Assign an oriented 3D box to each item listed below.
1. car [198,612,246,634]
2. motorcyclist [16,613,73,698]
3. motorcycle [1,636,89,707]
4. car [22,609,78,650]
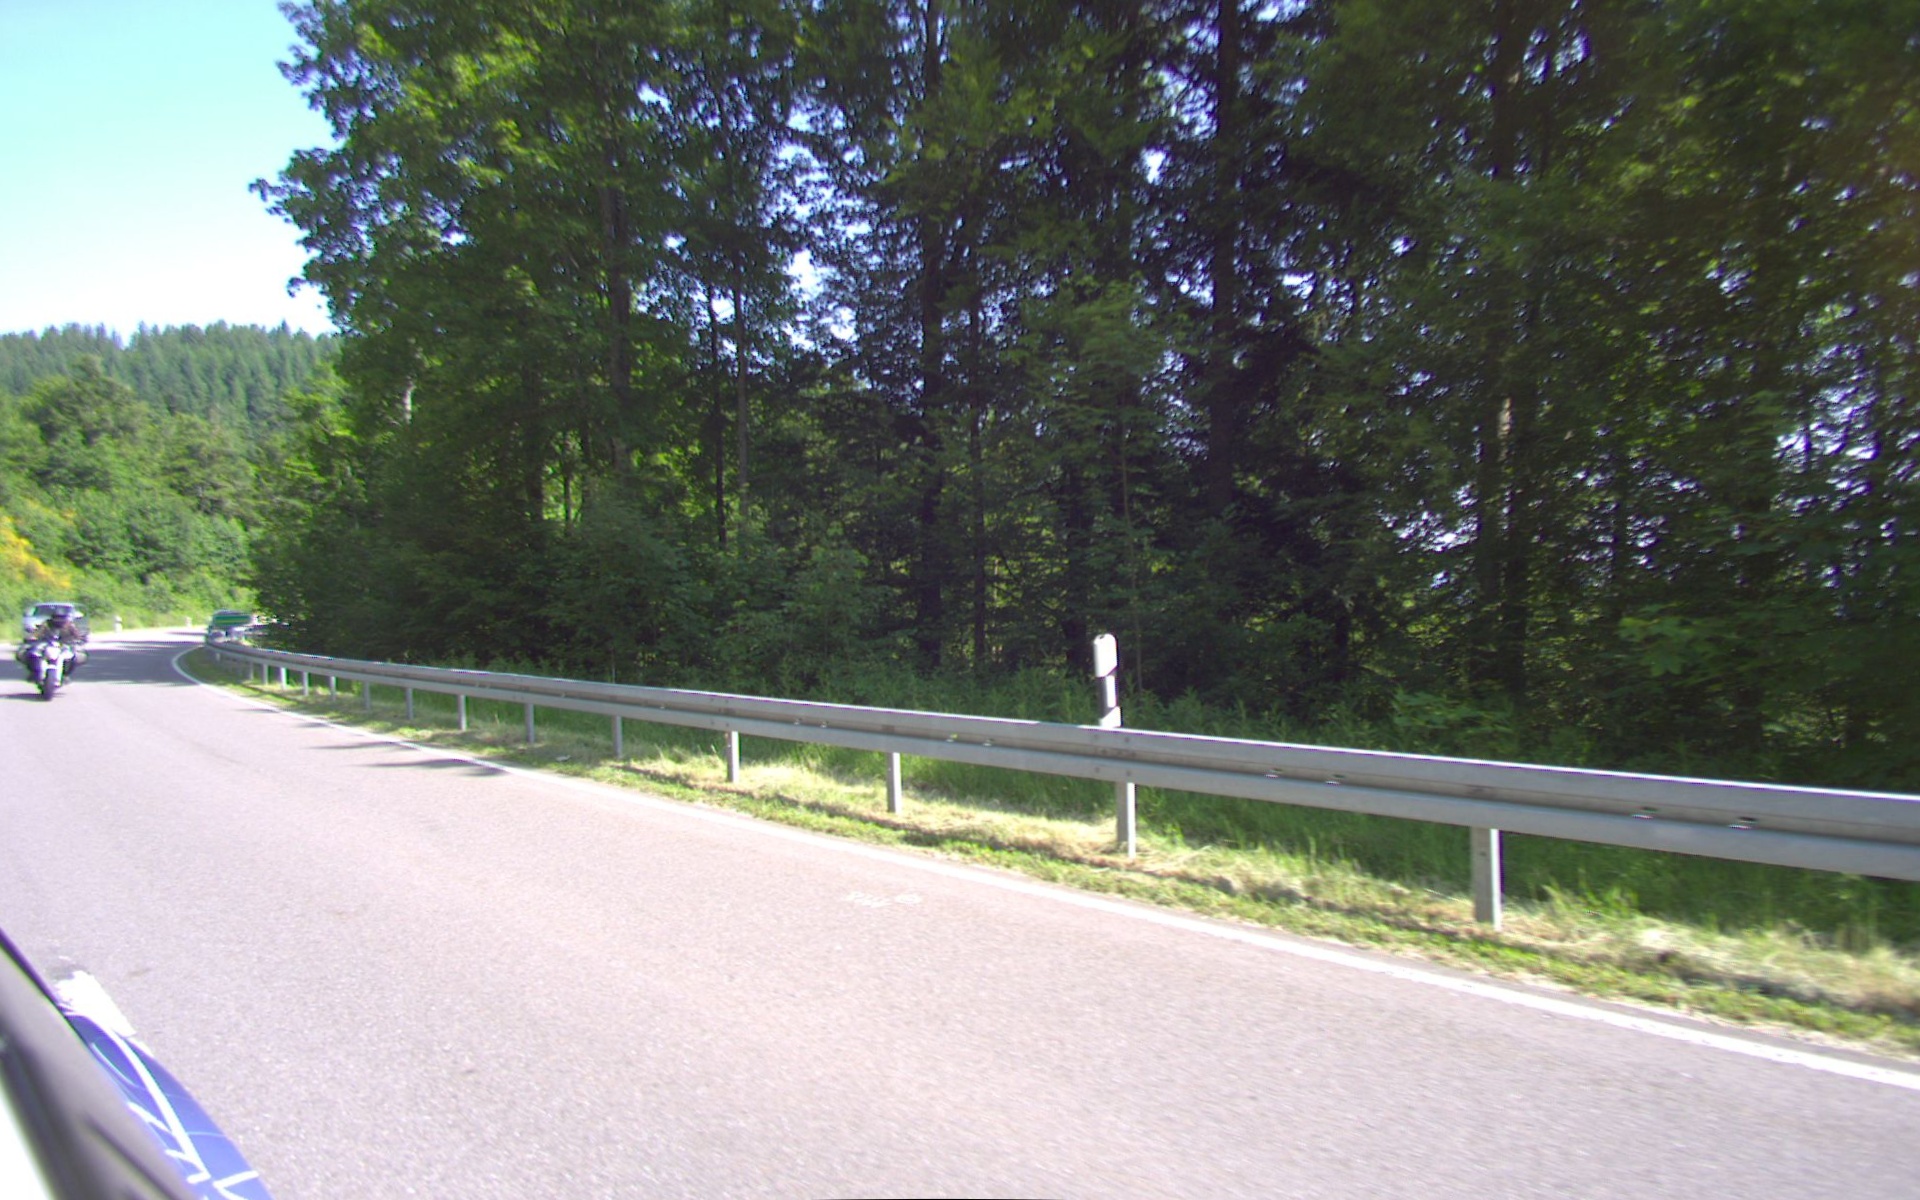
[{"bbox_3d":[-58.044,1.785,79.649,1.965,1.655,4.013,1,0,-20],"label":"car"},{"bbox_3d":[-16.196,0.959,17.927,0.706,1.441,1.001,0,-1,-40],"label":"motorcyclist"},{"bbox_3d":[-16.224,1.240,17.997,1.093,1.132,1.964,0,-1,-40],"label":"motorcycle"},{"bbox_3d":[-41.867,1.333,46.622,1.627,1.773,3.802,3,-2,-38],"label":"car"}]
